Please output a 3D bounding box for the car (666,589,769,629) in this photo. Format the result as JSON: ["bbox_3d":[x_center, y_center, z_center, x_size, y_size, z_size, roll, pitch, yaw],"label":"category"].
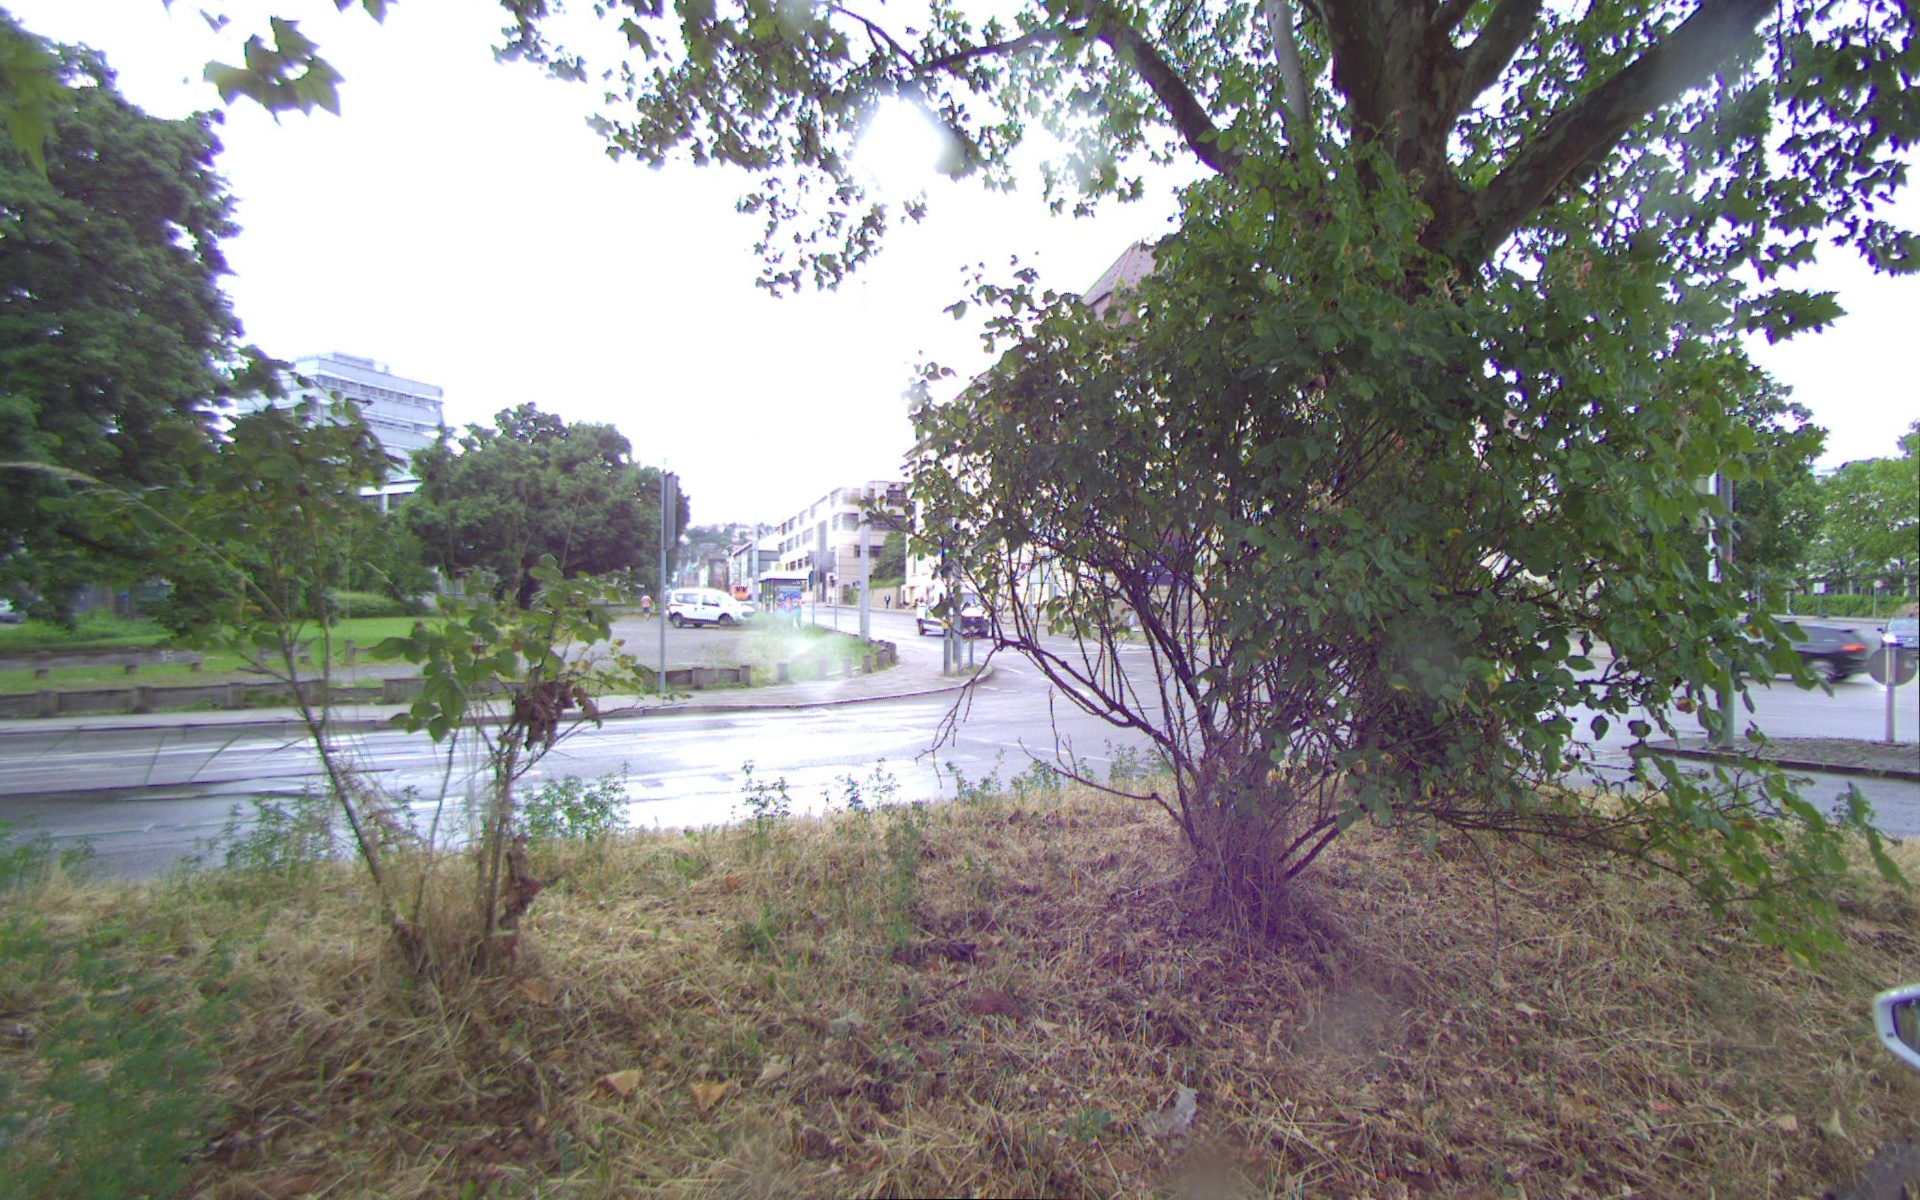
[{"bbox_3d":[-11.294,0.390,46.801,4.420,1.791,1.833,0,-1,24],"label":"car"}]

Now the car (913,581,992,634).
[{"bbox_3d":[-0.459,0.320,48.363,1.969,2.344,5.902,2,0,-19],"label":"car"}]

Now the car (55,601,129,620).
[{"bbox_3d":[-60.335,0.720,69.849,3.500,1.158,1.586,2,0,-18],"label":"car"}]

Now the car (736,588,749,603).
[{"bbox_3d":[-40.650,-0.822,187.616,1.969,2.652,3.983,2,0,-19],"label":"car"}]

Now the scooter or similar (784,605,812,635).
[{"bbox_3d":[-6.581,0.797,40.845,0.541,1.182,1.253,2,0,20],"label":"scooter or similar"}]

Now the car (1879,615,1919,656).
[{"bbox_3d":[39.300,1.428,41.562,1.847,1.585,4.252,-1,-1,43],"label":"car"}]

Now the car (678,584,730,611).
[{"bbox_3d":[-17.256,-0.136,67.626,1.838,1.765,4.029,1,-1,-39],"label":"car"}]

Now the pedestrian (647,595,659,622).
[{"bbox_3d":[-18.459,0.503,60.362,0.557,1.548,0.669,2,0,-8],"label":"pedestrian"}]

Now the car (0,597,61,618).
[{"bbox_3d":[-58.526,0.475,62.486,3.500,1.158,1.586,2,0,-18],"label":"car"}]

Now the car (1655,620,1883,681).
[{"bbox_3d":[21.223,1.251,26.506,1.981,1.396,4.342,1,0,-36],"label":"car"}]

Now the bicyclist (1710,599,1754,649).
[{"bbox_3d":[26.619,0.821,34.644,1.112,1.654,0.698,2,0,43],"label":"bicyclist"}]

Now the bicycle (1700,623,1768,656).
[{"bbox_3d":[26.645,1.352,34.587,1.796,1.070,0.644,1,-1,44],"label":"bicycle"}]
